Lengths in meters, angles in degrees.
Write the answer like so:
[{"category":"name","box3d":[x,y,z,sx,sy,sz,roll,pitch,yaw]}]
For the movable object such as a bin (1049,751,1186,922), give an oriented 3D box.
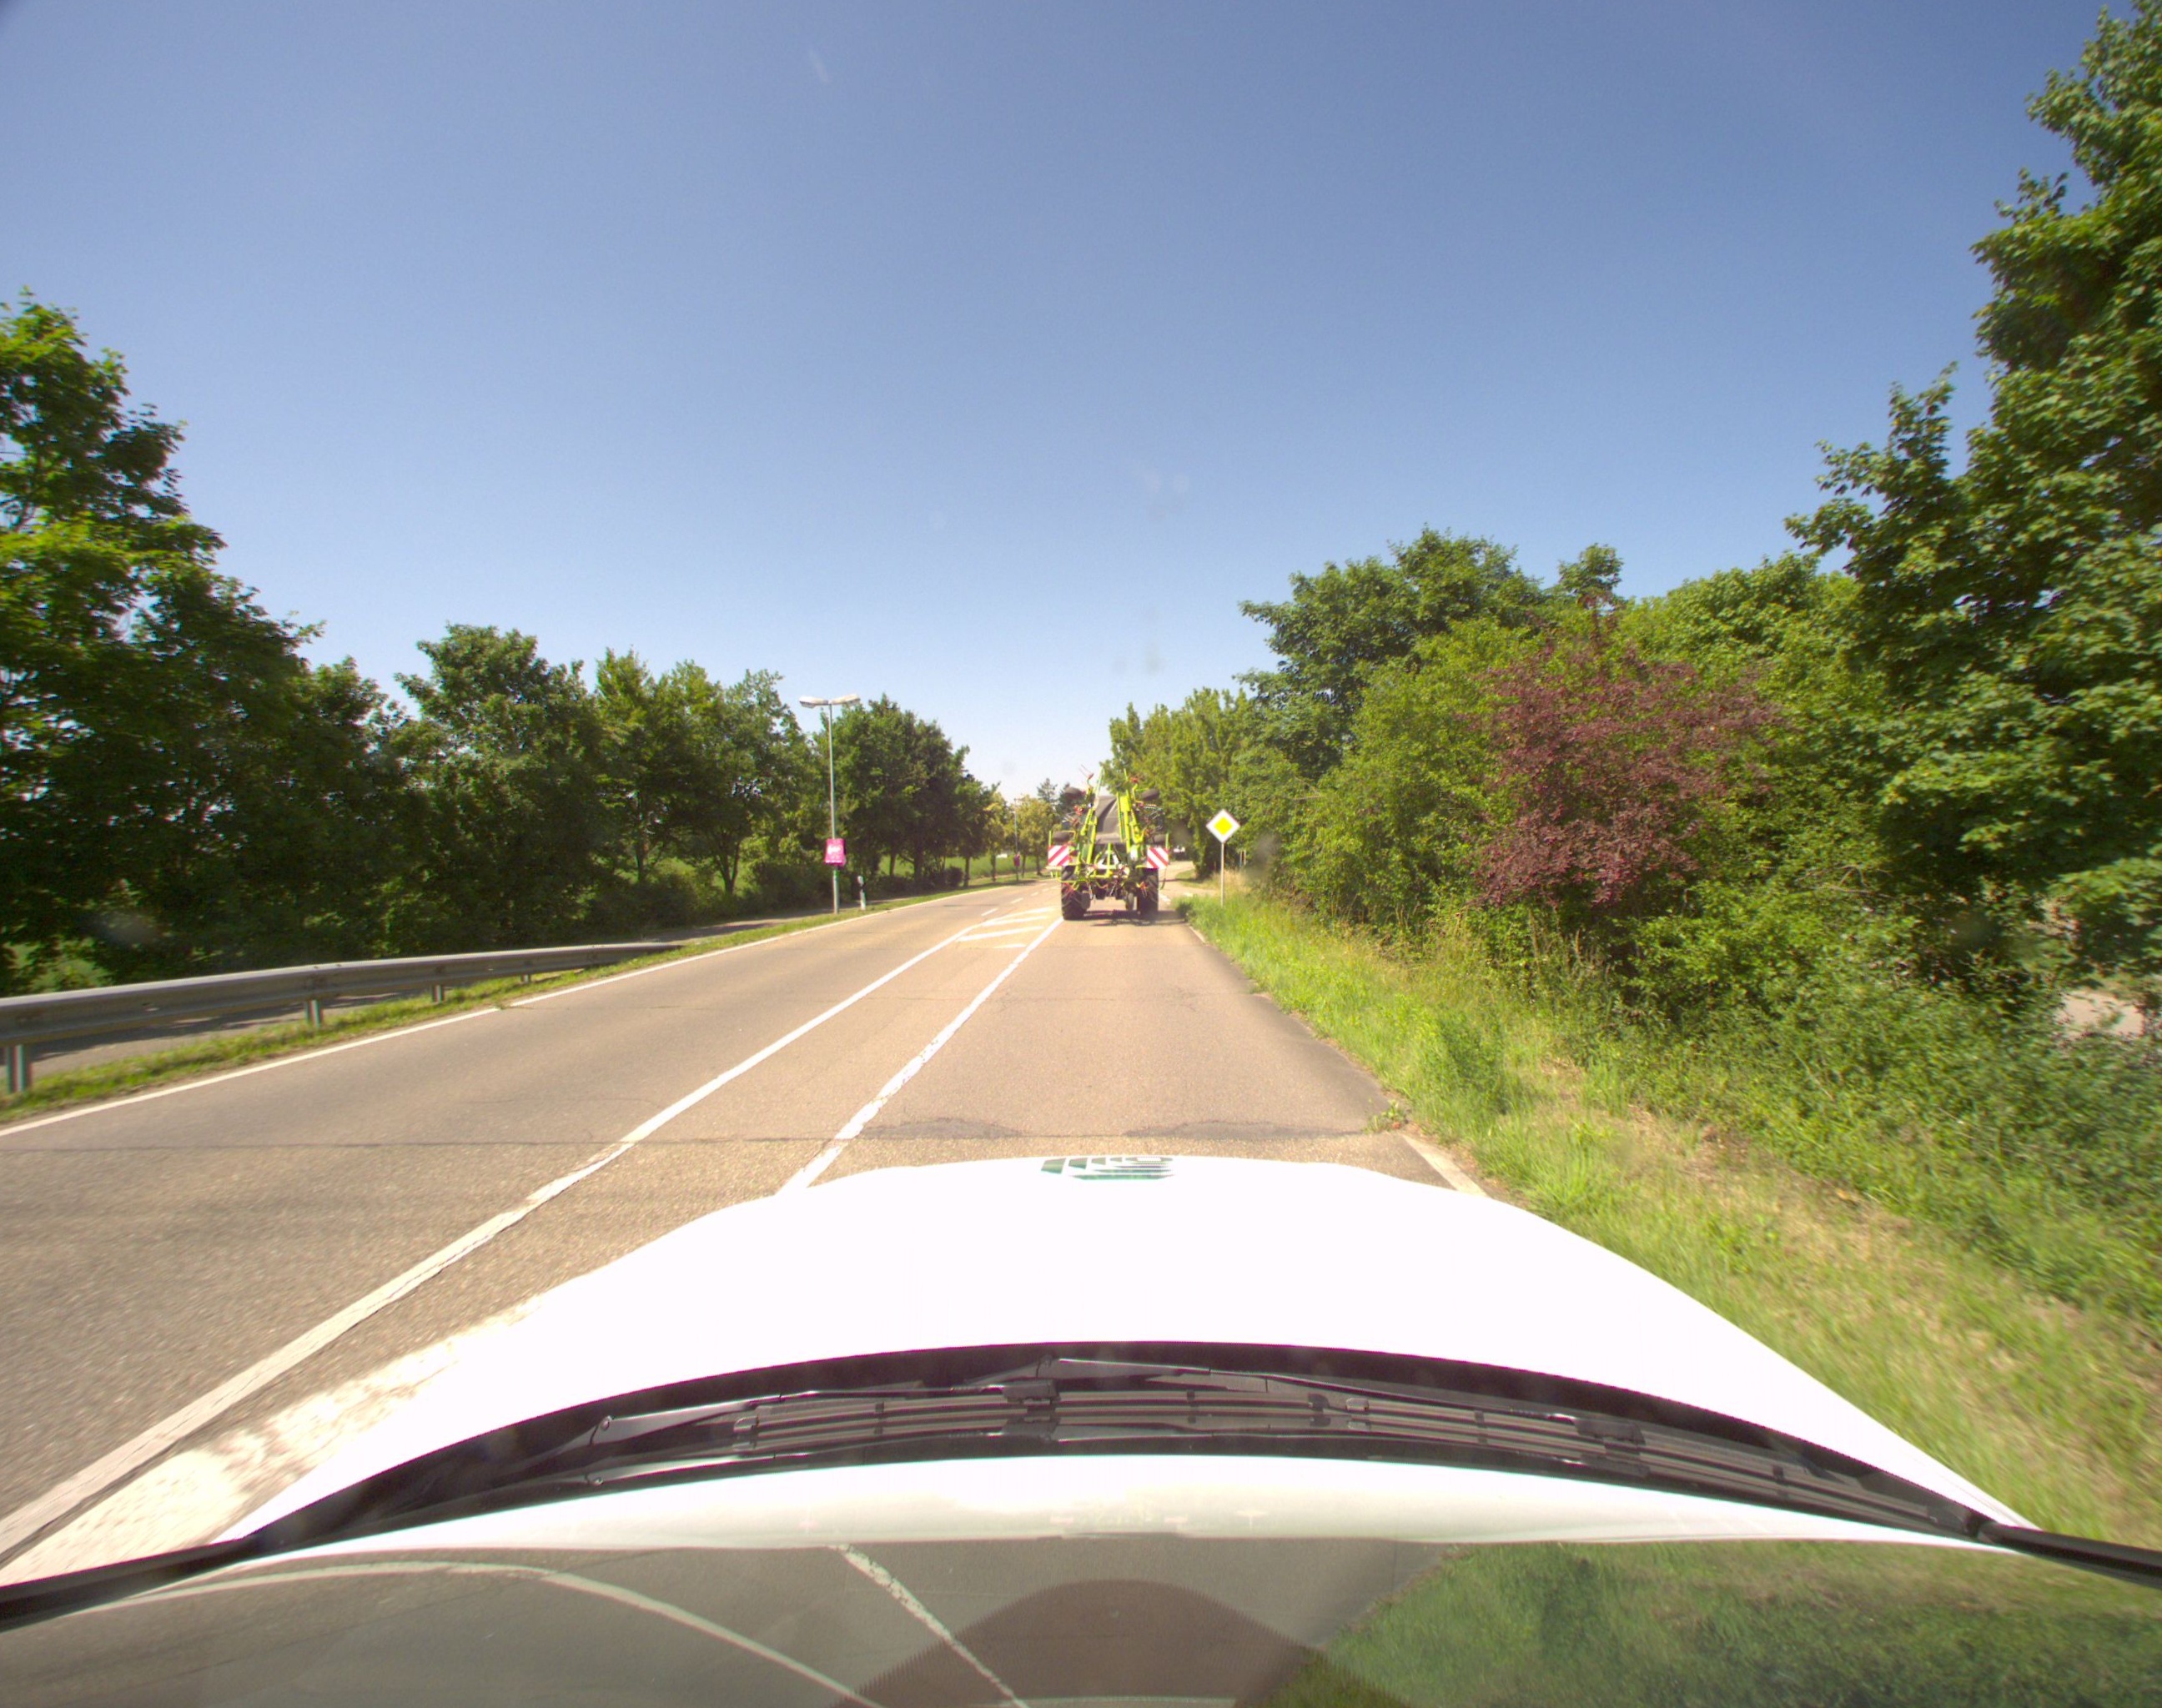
[{"category":"movable object such as a bin","box3d":[0.864,-0.390,21.816,2.843,3.541,9.703,0,0,1]}]
